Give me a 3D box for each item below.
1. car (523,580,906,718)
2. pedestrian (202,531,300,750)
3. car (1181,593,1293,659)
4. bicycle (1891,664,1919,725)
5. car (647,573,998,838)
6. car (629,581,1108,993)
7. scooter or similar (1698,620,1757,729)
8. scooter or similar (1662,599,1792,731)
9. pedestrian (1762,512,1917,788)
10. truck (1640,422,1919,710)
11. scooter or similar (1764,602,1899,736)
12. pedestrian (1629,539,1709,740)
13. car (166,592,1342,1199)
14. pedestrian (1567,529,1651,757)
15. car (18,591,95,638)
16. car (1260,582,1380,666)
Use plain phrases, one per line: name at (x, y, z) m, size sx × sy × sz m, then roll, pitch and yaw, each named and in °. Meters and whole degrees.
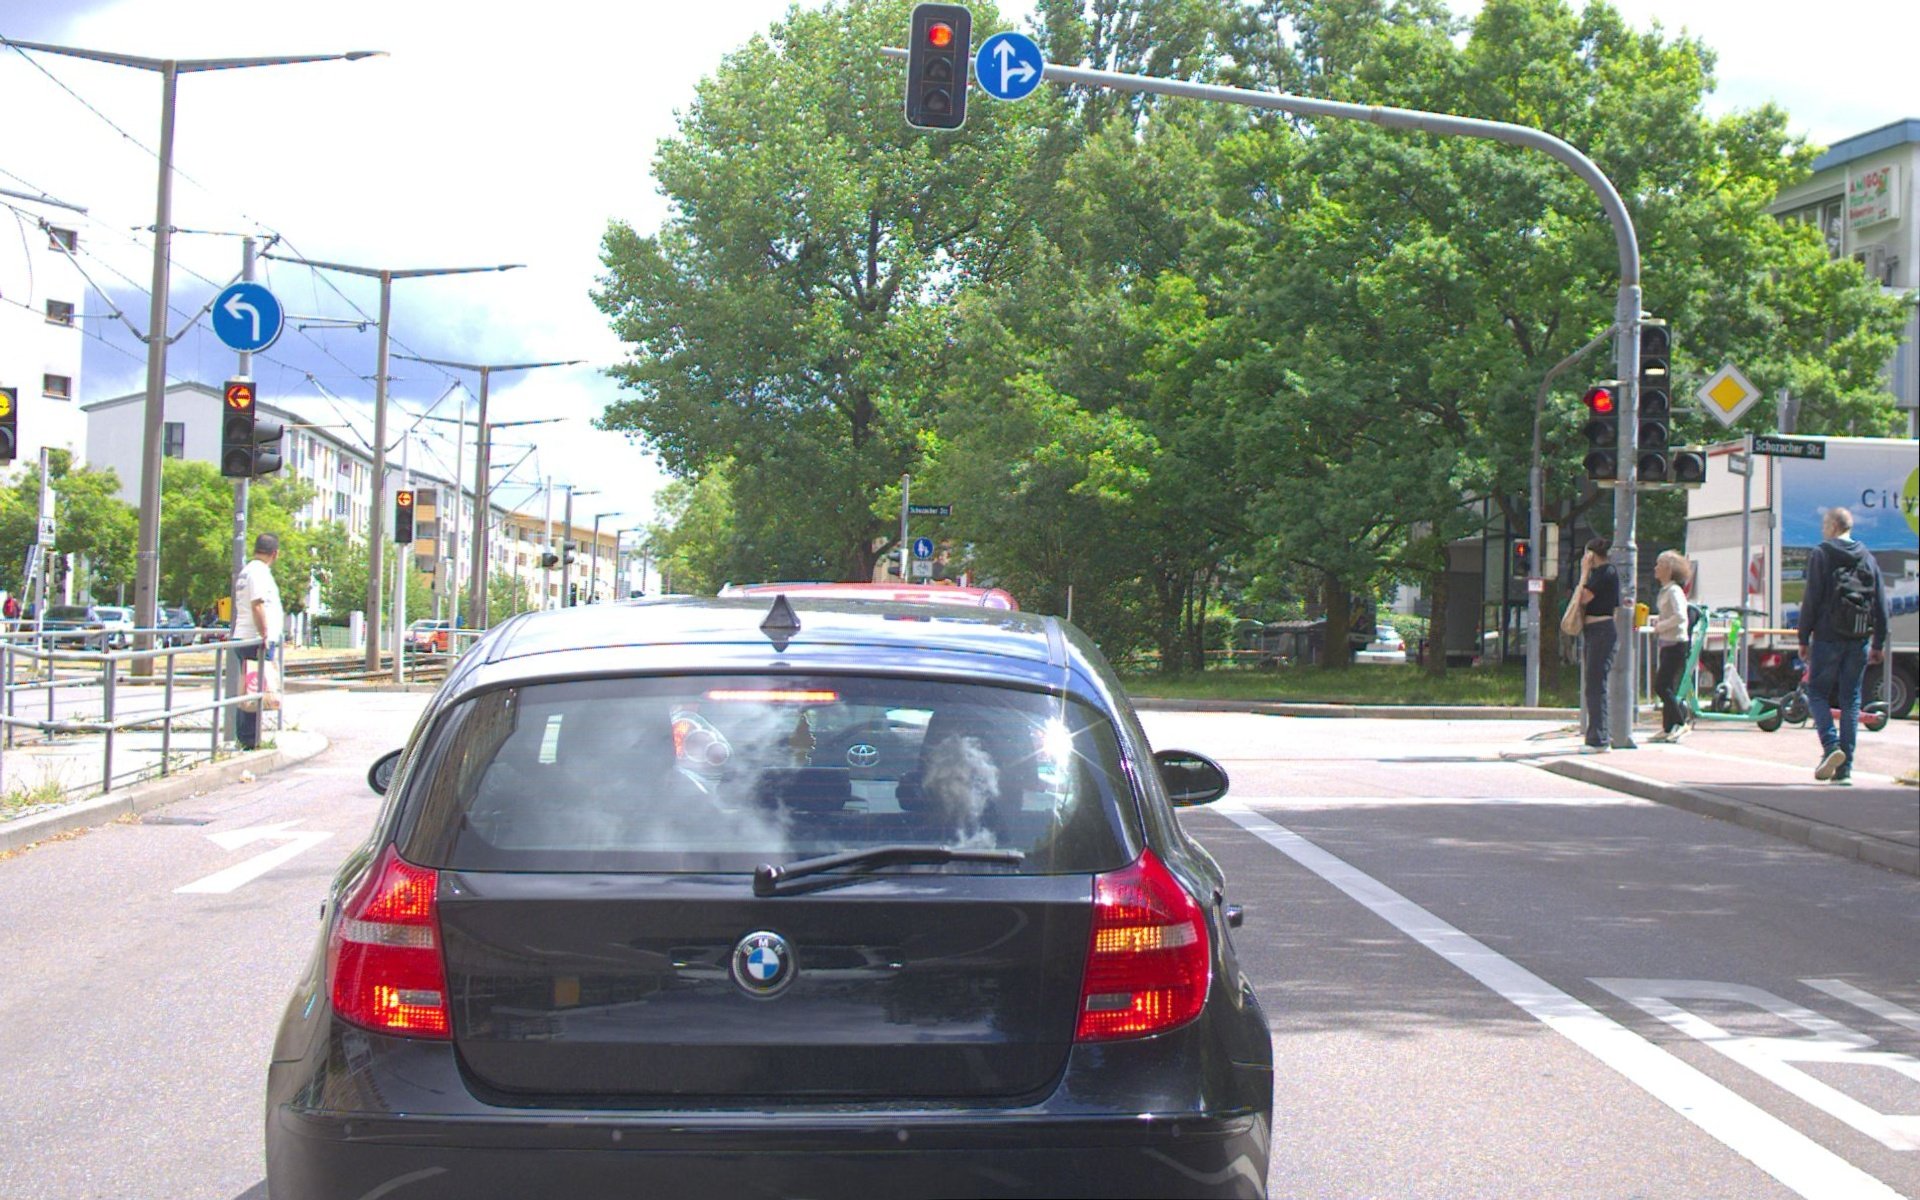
car at (-2.794, 0.549, 38.900) m, size 3.986 × 1.481 × 1.848 m, roll 1°, pitch 0°, yaw -18°
pedestrian at (-5.687, 0.319, 27.610) m, size 0.687 × 1.728 × 0.688 m, roll 1°, pitch 0°, yaw -6°
car at (7.278, 0.661, 90.679) m, size 1.862 × 1.656 × 4.001 m, roll 1°, pitch 0°, yaw -11°
bicycle at (10.436, 0.999, 35.392) m, size 1.587 × 0.607 × 0.534 m, roll 2°, pitch 1°, yaw 20°
car at (-0.777, 0.561, 21.097) m, size 1.900 × 1.417 × 4.539 m, roll 1°, pitch 0°, yaw -1°
car at (-0.335, 0.640, 13.628) m, size 1.638 × 1.395 × 3.420 m, roll 1°, pitch 0°, yaw -1°
scooter or similar at (7.795, 0.741, 34.895) m, size 0.548 × 1.060 × 1.261 m, roll 1°, pitch 0°, yaw 13°
scooter or similar at (7.321, 0.614, 32.854) m, size 1.110 × 1.231 × 0.539 m, roll 1°, pitch 0°, yaw 2°
pedestrian at (6.093, 0.336, 23.857) m, size 0.795 × 1.870 × 1.013 m, roll 1°, pitch 0°, yaw 0°
truck at (12.259, -0.372, 41.980) m, size 7.266 × 3.337 × 2.609 m, roll 1°, pitch 0°, yaw -12°
scooter or similar at (8.570, 0.673, 33.837) m, size 1.150 × 1.268 × 0.555 m, roll 2°, pitch 0°, yaw 2°
pedestrian at (6.292, 0.347, 30.518) m, size 0.636 × 1.760 × 0.518 m, roll 1°, pitch 0°, yaw 8°
car at (-0.323, 0.706, 6.724) m, size 1.700 × 1.395 × 3.420 m, roll 1°, pitch 0°, yaw -1°
pedestrian at (5.412, 0.353, 28.689) m, size 0.636 × 1.870 × 0.518 m, roll 1°, pitch 0°, yaw 8°
car at (-29.386, 0.457, 111.915) m, size 1.591 × 1.469 × 3.775 m, roll 1°, pitch 0°, yaw -2°
car at (8.321, 0.546, 79.765) m, size 1.726 × 1.865 × 4.001 m, roll 1°, pitch 0°, yaw -9°
